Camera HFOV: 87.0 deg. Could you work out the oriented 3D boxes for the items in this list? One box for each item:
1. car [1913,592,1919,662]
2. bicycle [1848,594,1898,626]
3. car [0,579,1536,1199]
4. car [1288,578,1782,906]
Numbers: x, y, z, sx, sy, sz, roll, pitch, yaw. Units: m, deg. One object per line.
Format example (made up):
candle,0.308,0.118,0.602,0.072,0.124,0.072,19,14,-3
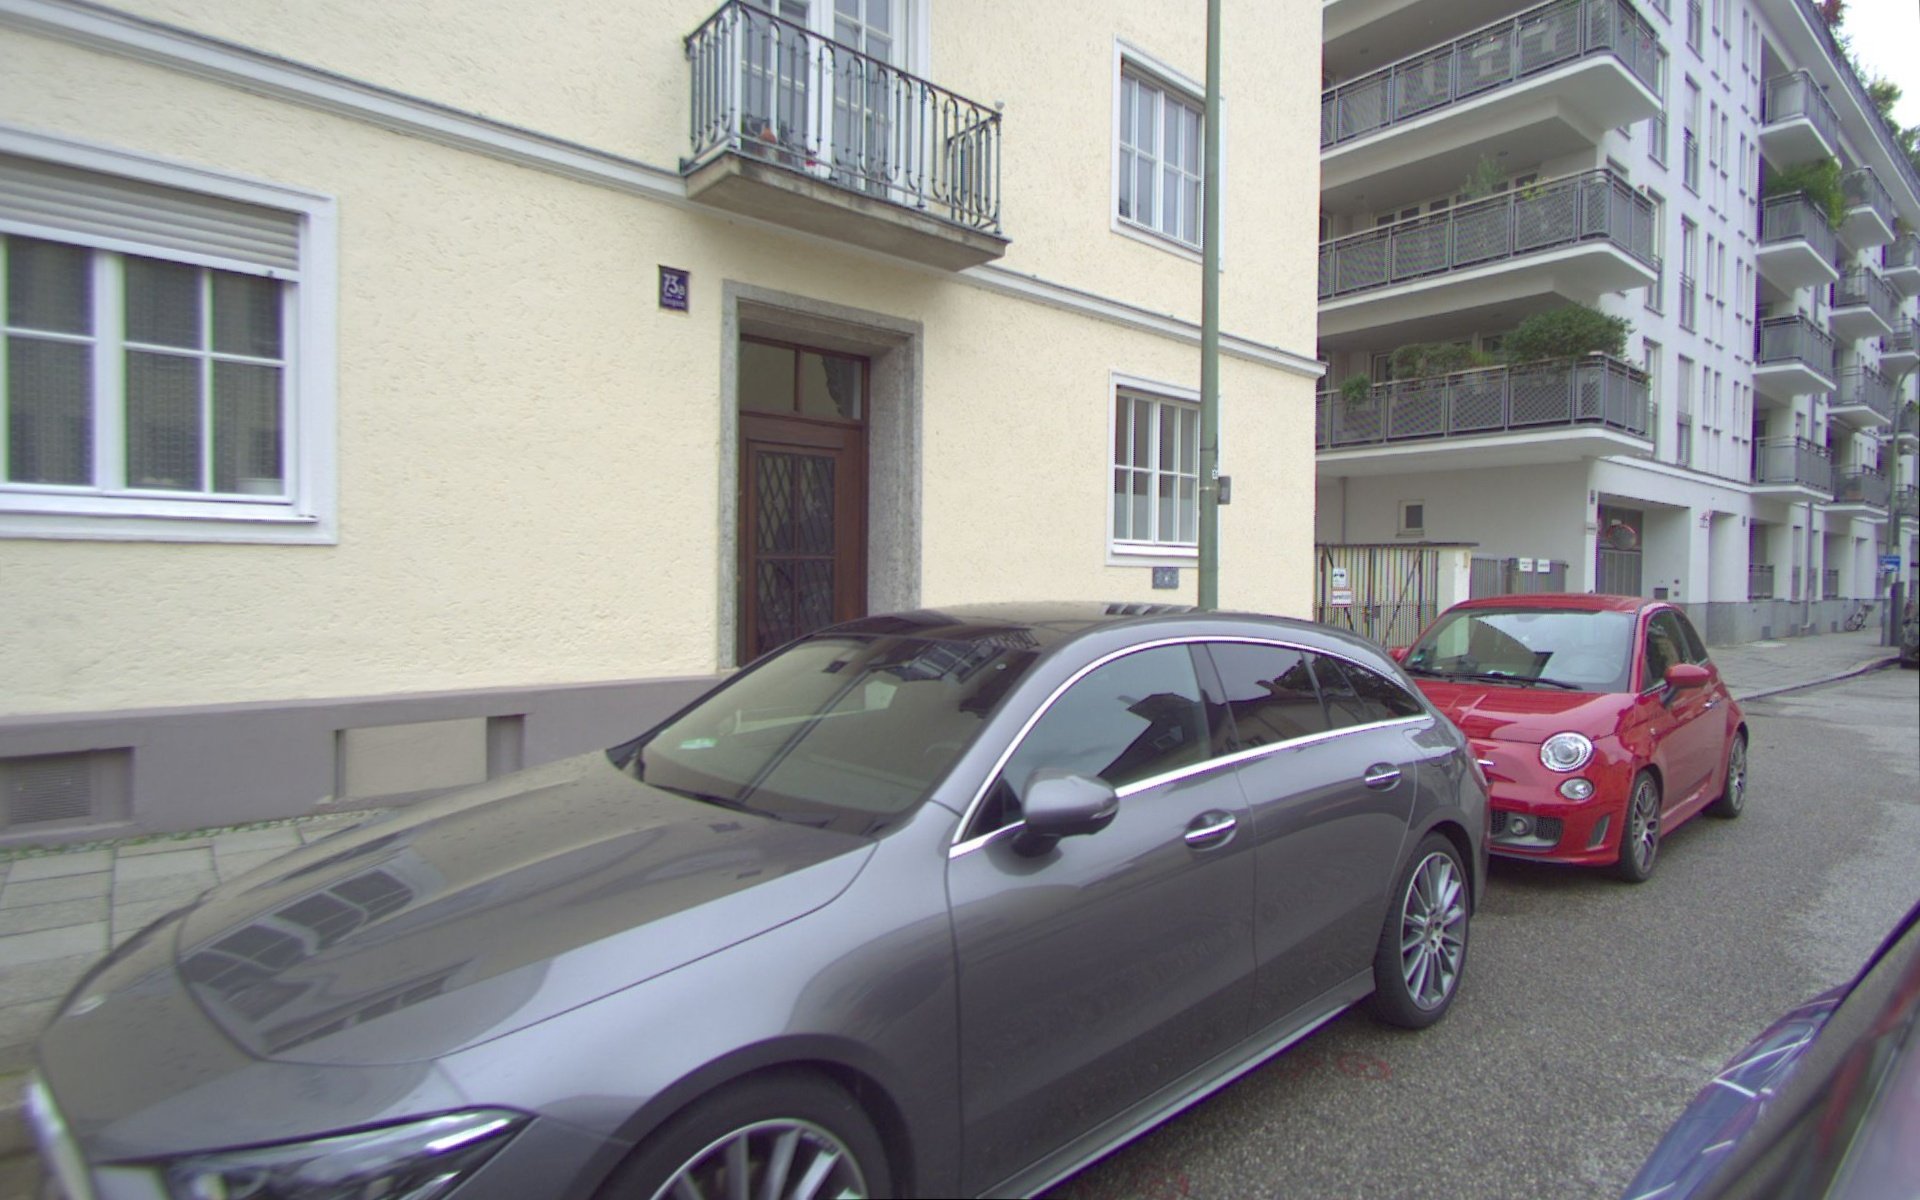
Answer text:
car,21.709,0.545,21.602,4.176,1.411,1.781,-1,1,-44
bicycle,29.771,0.311,32.990,1.913,1.027,0.582,-1,0,-28
car,0.068,0.658,3.127,4.345,1.427,1.682,-1,1,-42
car,3.888,0.624,6.583,3.758,1.516,1.682,-1,1,-42
